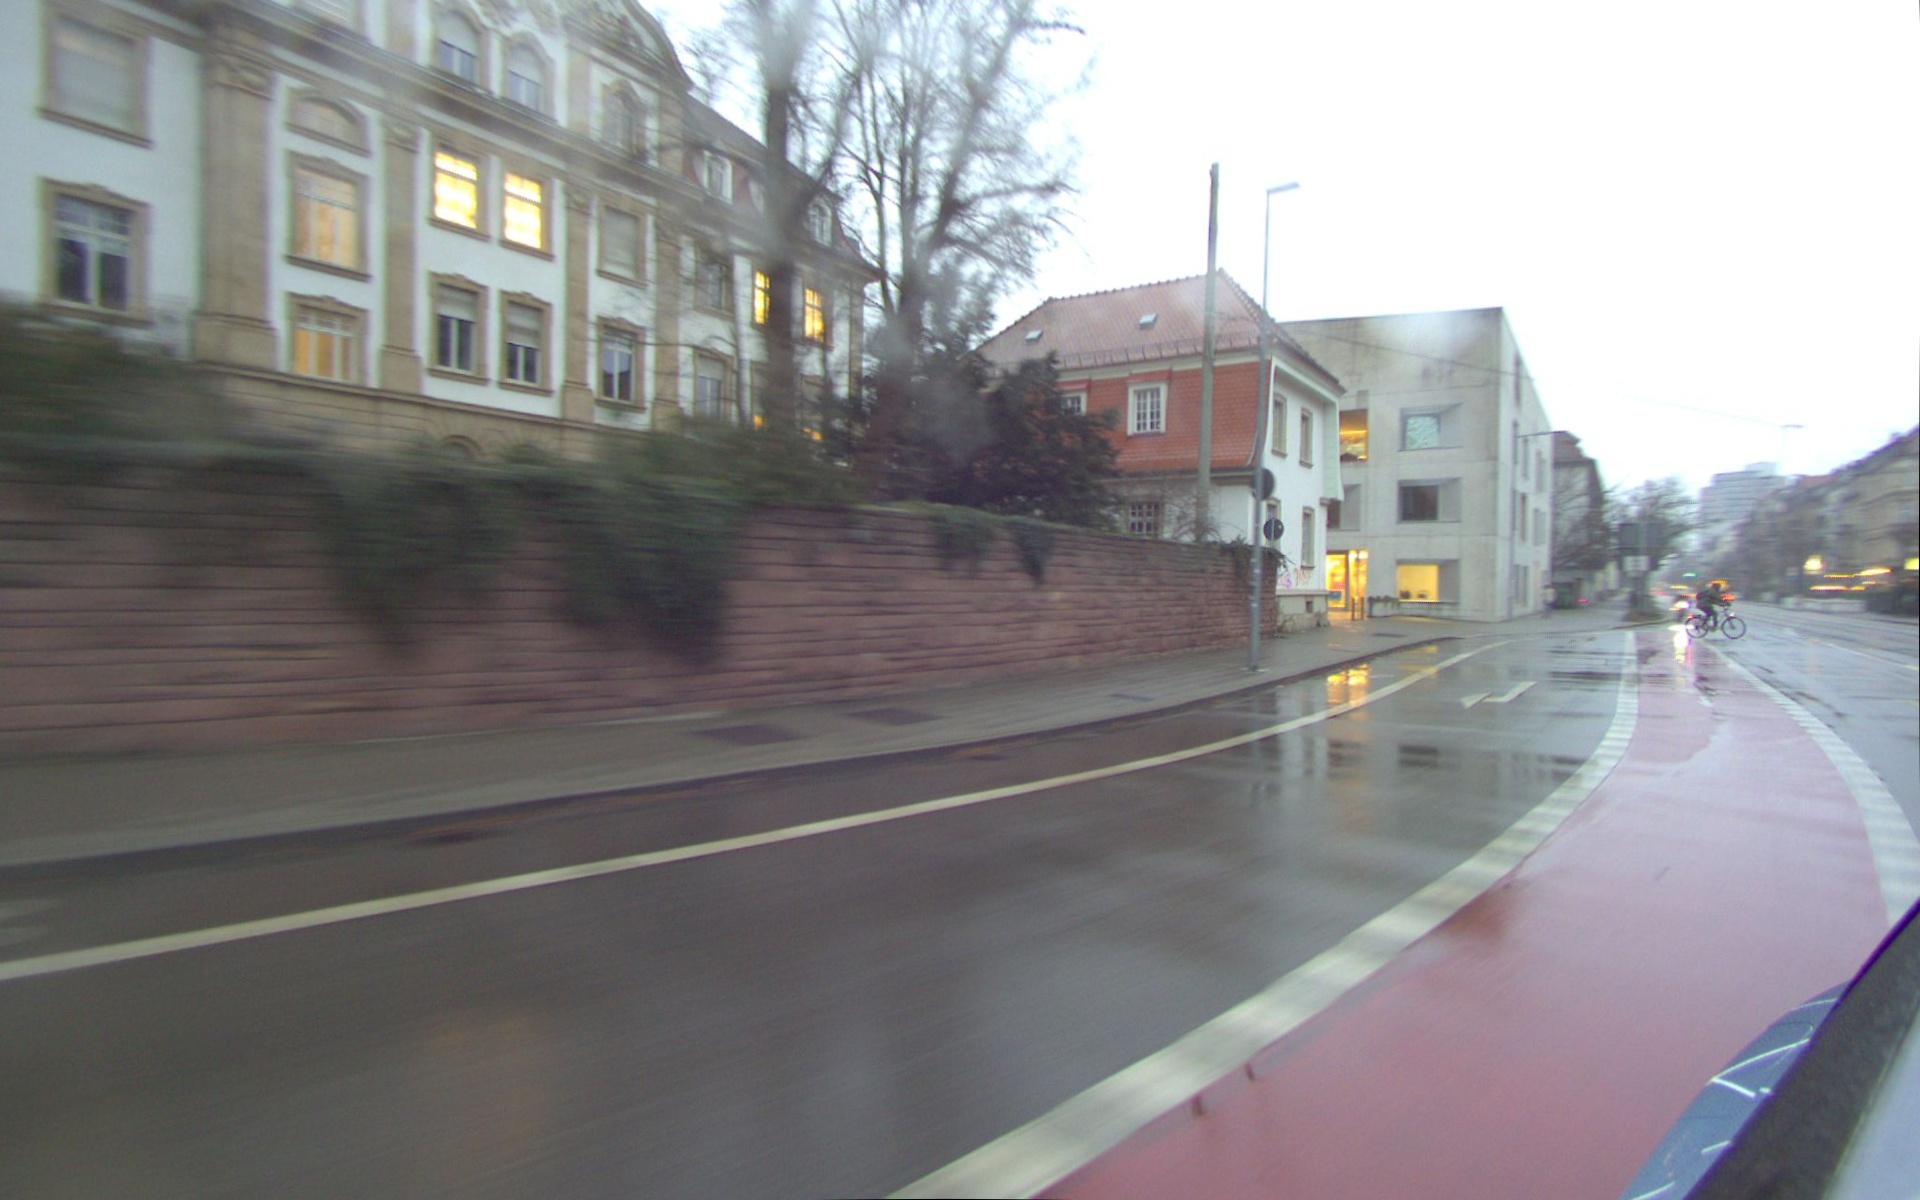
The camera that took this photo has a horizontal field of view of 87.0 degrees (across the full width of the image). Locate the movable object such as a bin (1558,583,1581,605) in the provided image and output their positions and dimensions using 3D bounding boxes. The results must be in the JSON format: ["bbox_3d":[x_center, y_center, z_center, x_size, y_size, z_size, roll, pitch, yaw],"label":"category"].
[{"bbox_3d":[41.908,-0.403,69.549,1.252,1.463,1.401,2,1,35],"label":"movable object such as a bin"}]

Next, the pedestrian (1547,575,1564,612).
[{"bbox_3d":[30.913,-0.332,52.514,0.654,1.882,0.651,2,2,36],"label":"pedestrian"}]

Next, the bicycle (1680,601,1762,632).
[{"bbox_3d":[25.218,0.548,33.552,2.112,0.956,0.931,-1,0,39],"label":"bicycle"}]

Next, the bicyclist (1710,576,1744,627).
[{"bbox_3d":[25.314,0.039,33.399,0.853,1.615,0.770,2,2,39],"label":"bicyclist"}]

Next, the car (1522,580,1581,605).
[{"bbox_3d":[41.089,-0.502,70.307,3.438,1.668,1.710,-1,0,35],"label":"car"}]

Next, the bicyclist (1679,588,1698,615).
[{"bbox_3d":[36.762,0.064,51.073,0.714,1.360,0.709,-2,0,42],"label":"bicyclist"}]

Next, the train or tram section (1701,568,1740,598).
[{"bbox_3d":[106.866,-2.398,142.460,2.867,3.784,27.001,-2,0,34],"label":"train or tram section"}]

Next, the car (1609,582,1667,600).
[{"bbox_3d":[59.545,-0.811,88.932,3.806,1.447,1.852,-1,0,19],"label":"car"}]

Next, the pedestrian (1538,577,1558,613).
[{"bbox_3d":[30.652,-0.265,52.730,0.769,1.881,0.709,2,2,37],"label":"pedestrian"}]

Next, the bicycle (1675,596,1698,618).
[{"bbox_3d":[36.694,0.361,51.076,0.721,1.104,2.251,0,-1,41],"label":"bicycle"}]
